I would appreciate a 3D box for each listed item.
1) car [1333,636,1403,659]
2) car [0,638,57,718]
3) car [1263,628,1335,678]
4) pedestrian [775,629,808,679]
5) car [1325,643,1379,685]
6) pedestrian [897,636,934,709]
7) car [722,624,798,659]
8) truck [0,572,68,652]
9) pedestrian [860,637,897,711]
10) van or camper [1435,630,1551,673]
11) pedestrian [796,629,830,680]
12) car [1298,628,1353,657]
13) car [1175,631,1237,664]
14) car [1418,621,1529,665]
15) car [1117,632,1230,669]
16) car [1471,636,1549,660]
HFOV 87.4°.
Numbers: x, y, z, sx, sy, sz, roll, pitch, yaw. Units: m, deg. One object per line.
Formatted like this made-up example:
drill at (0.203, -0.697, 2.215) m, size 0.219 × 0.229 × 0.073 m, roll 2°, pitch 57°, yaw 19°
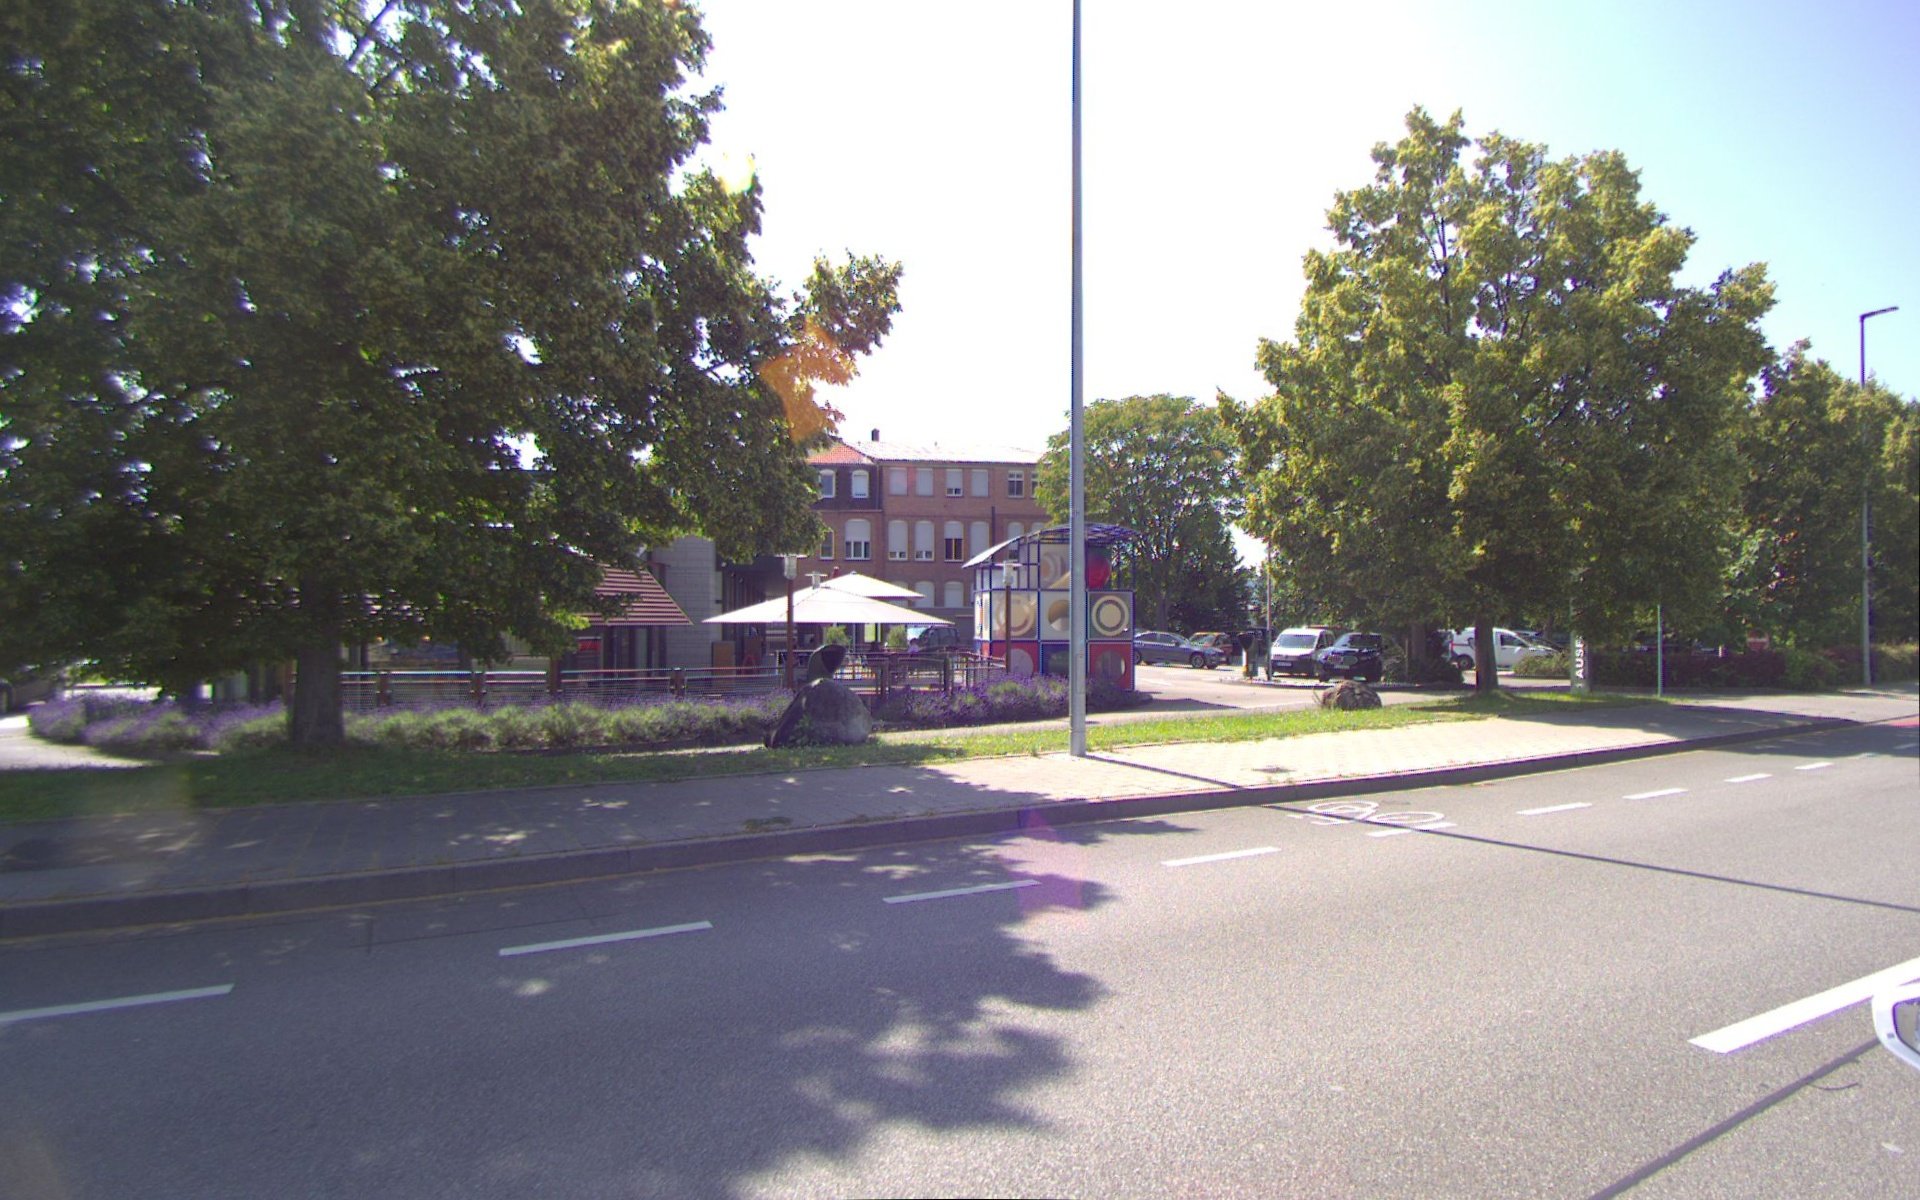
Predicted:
car at (25.851, 3.001, 63.649) m, size 3.930 × 1.356 × 1.582 m, roll -1°, pitch -2°, yaw 31°
car at (-20.752, 1.594, 21.068) m, size 1.844 × 1.572 × 4.155 m, roll 1°, pitch -2°, yaw -30°
car at (12.825, 1.945, 37.842) m, size 1.688 × 1.758 × 4.239 m, roll -1°, pitch -2°, yaw 31°
pedestrian at (-5.159, 1.643, 30.717) m, size 0.744 × 1.493 × 0.828 m, roll 1°, pitch -2°, yaw -32°
car at (13.581, 2.151, 34.682) m, size 1.578 × 1.303 × 3.998 m, roll -1°, pitch -2°, yaw 24°
pedestrian at (-1.271, 2.031, 28.430) m, size 0.744 × 2.040 × 0.828 m, roll 1°, pitch -2°, yaw -32°
car at (-12.938, 2.655, 64.793) m, size 4.723 × 2.206 × 1.995 m, roll 0°, pitch -1°, yaw -15°
truck at (-43.166, 0.510, 42.869) m, size 3.255 × 3.431 × 9.153 m, roll 0°, pitch -1°, yaw -10°
pedestrian at (-2.305, 2.063, 28.278) m, size 0.744 × 2.040 × 0.828 m, roll 1°, pitch -2°, yaw -32°
van or camper at (23.221, 2.199, 43.841) m, size 4.216 × 1.763 × 1.993 m, roll -1°, pitch -2°, yaw 37°
pedestrian at (-4.417, 1.622, 30.086) m, size 0.744 × 1.493 × 0.828 m, roll 1°, pitch -2°, yaw -32°
car at (20.231, 2.324, 55.718) m, size 1.474 × 1.546 × 3.430 m, roll 0°, pitch -2°, yaw -7°
car at (11.866, 2.270, 48.353) m, size 1.619 × 1.508 × 3.649 m, roll -1°, pitch -2°, yaw 37°
car at (24.914, 2.059, 48.748) m, size 4.664 × 2.040 × 2.080 m, roll -1°, pitch -2°, yaw 32°
car at (9.013, 2.098, 42.490) m, size 4.315 × 1.457 × 1.996 m, roll -1°, pitch -2°, yaw 31°
car at (35.855, 3.123, 65.532) m, size 4.216 × 1.457 × 1.993 m, roll -1°, pitch -2°, yaw 37°
